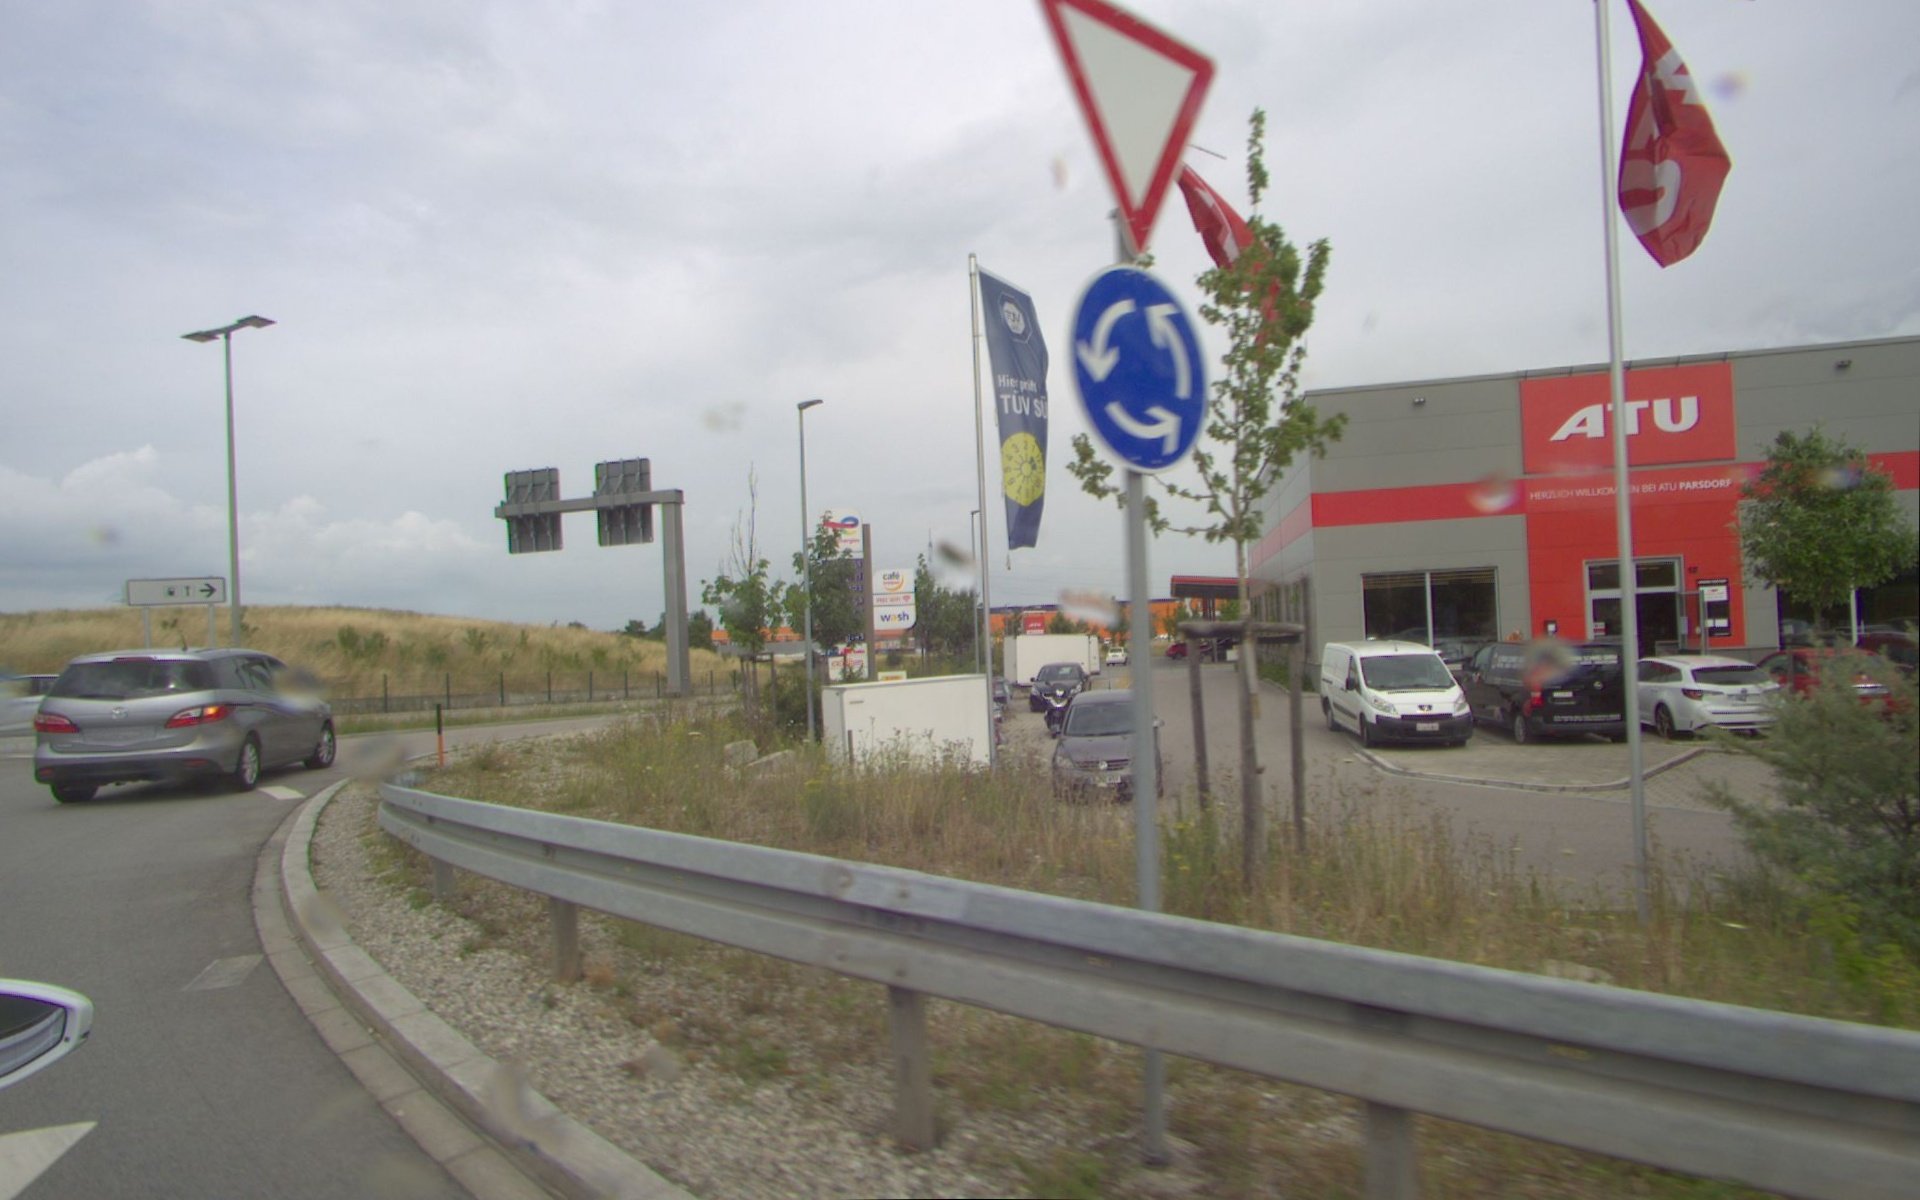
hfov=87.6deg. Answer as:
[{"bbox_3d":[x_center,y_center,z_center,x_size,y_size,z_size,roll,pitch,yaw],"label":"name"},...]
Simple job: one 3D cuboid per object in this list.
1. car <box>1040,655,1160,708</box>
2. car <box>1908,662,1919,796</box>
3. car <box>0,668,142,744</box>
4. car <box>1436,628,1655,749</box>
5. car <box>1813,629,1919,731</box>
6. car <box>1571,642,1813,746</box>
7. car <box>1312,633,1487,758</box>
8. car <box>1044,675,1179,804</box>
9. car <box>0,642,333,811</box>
[{"bbox_3d":[4.681,2.773,33.834,1.895,1.592,3.716,1,-6,-37],"label":"car"},{"bbox_3d":[14.489,1.571,13.729,4.031,1.600,1.757,-5,-1,-42],"label":"car"},{"bbox_3d":[-21.964,2.431,23.140,1.756,1.649,4.415,-1,-3,26],"label":"car"},{"bbox_3d":[11.322,1.611,19.871,1.962,1.998,5.078,-2,-1,9],"label":"car"},{"bbox_3d":[18.485,1.484,18.891,1.560,1.858,4.205,-2,-4,9],"label":"car"},{"bbox_3d":[14.203,1.750,19.834,1.879,1.662,4.674,-2,-1,9],"label":"car"},{"bbox_3d":[8.745,1.809,20.450,1.962,2.074,5.077,-2,-1,9],"label":"car"},{"bbox_3d":[2.612,2.263,17.267,1.928,1.696,4.836,-2,-2,9],"label":"car"},{"bbox_3d":[-9.060,1.361,11.900,1.885,1.593,3.994,0,-3,-20],"label":"car"}]
